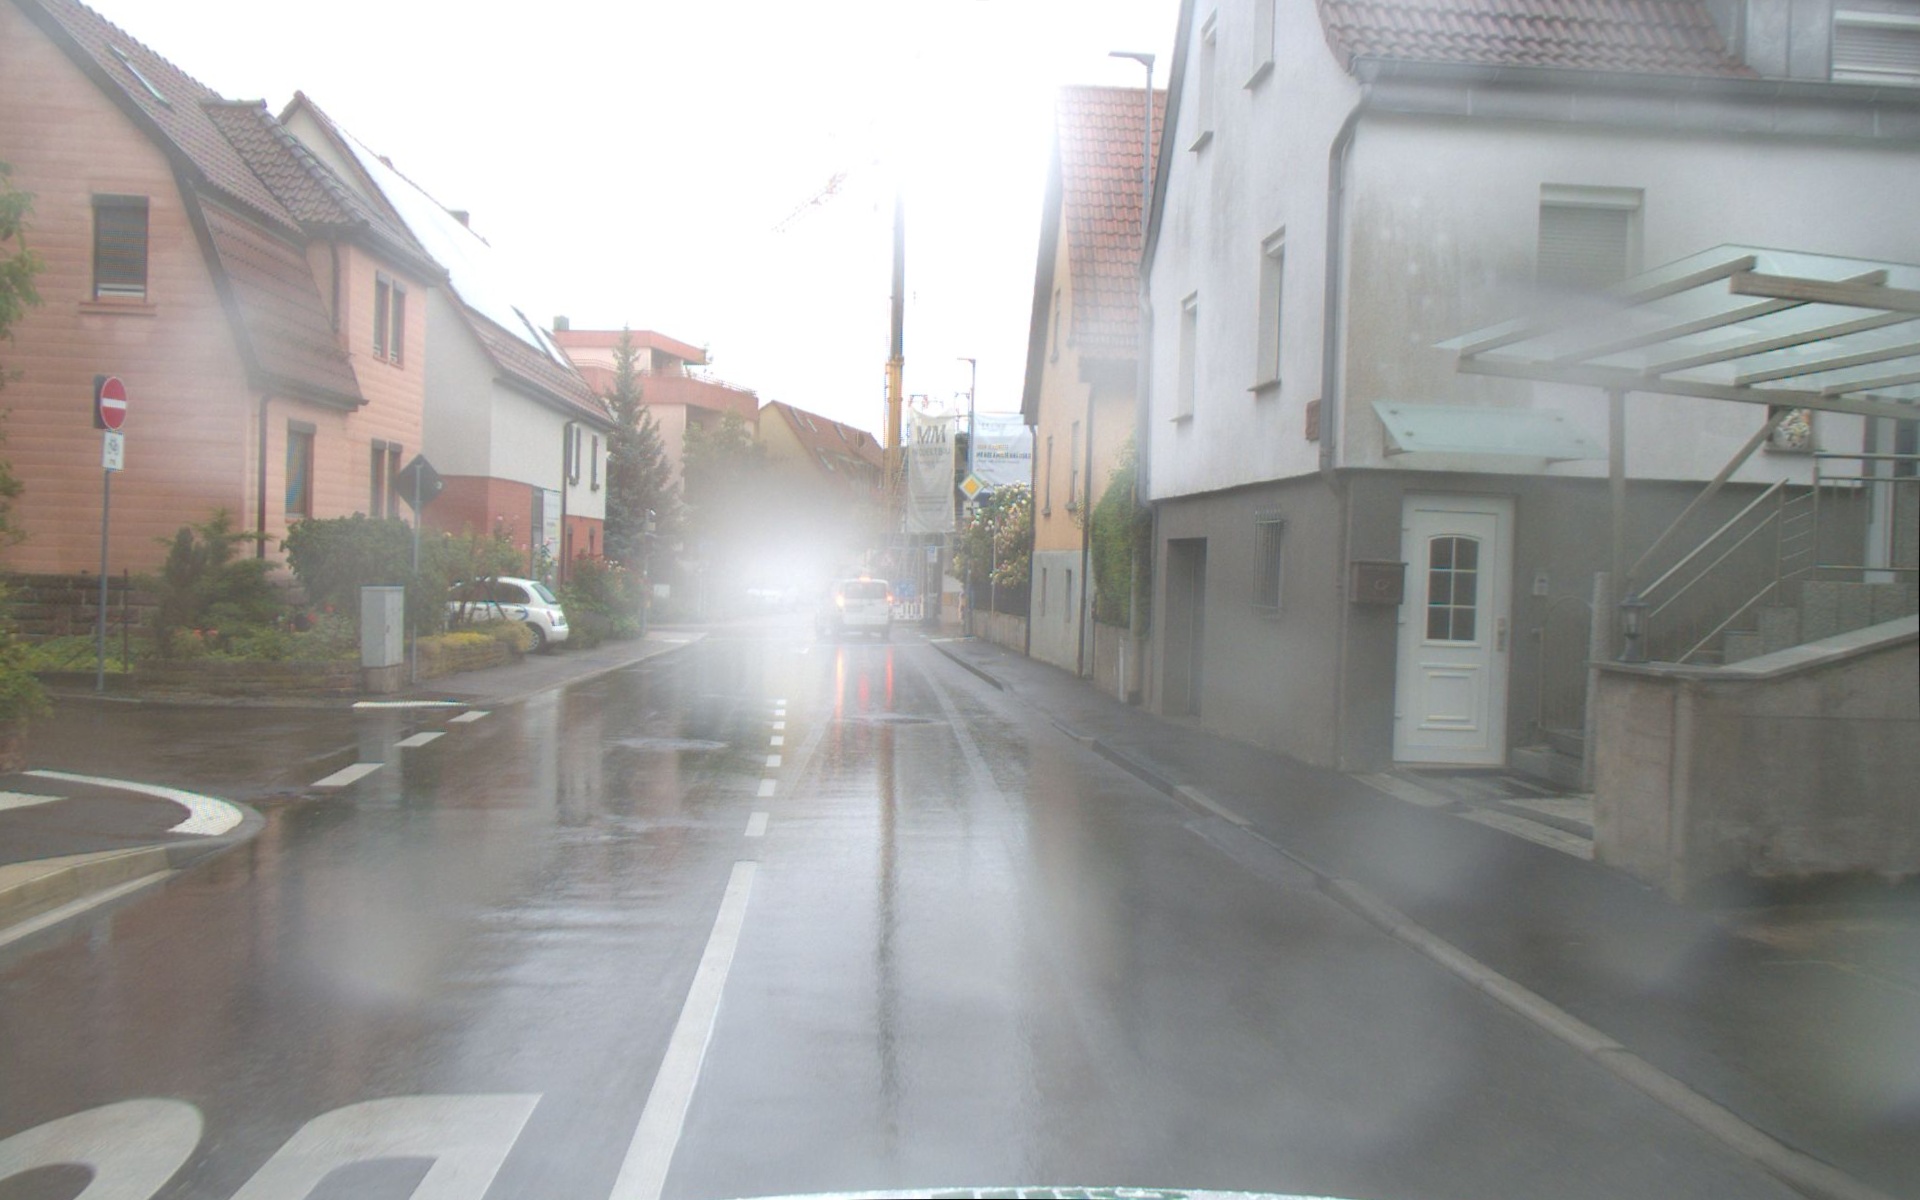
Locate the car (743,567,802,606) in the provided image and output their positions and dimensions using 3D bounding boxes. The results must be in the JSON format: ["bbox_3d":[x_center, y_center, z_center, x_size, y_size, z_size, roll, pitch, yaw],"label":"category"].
[{"bbox_3d":[-8.649,-0.643,76.678,1.566,1.707,3.942,2,2,11],"label":"car"}]

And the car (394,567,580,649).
[{"bbox_3d":[-10.124,0.168,35.603,3.474,1.556,1.662,3,0,-3],"label":"car"}]

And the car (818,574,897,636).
[{"bbox_3d":[-3.363,0.163,53.503,2.142,1.902,3.990,1,0,-10],"label":"car"}]
